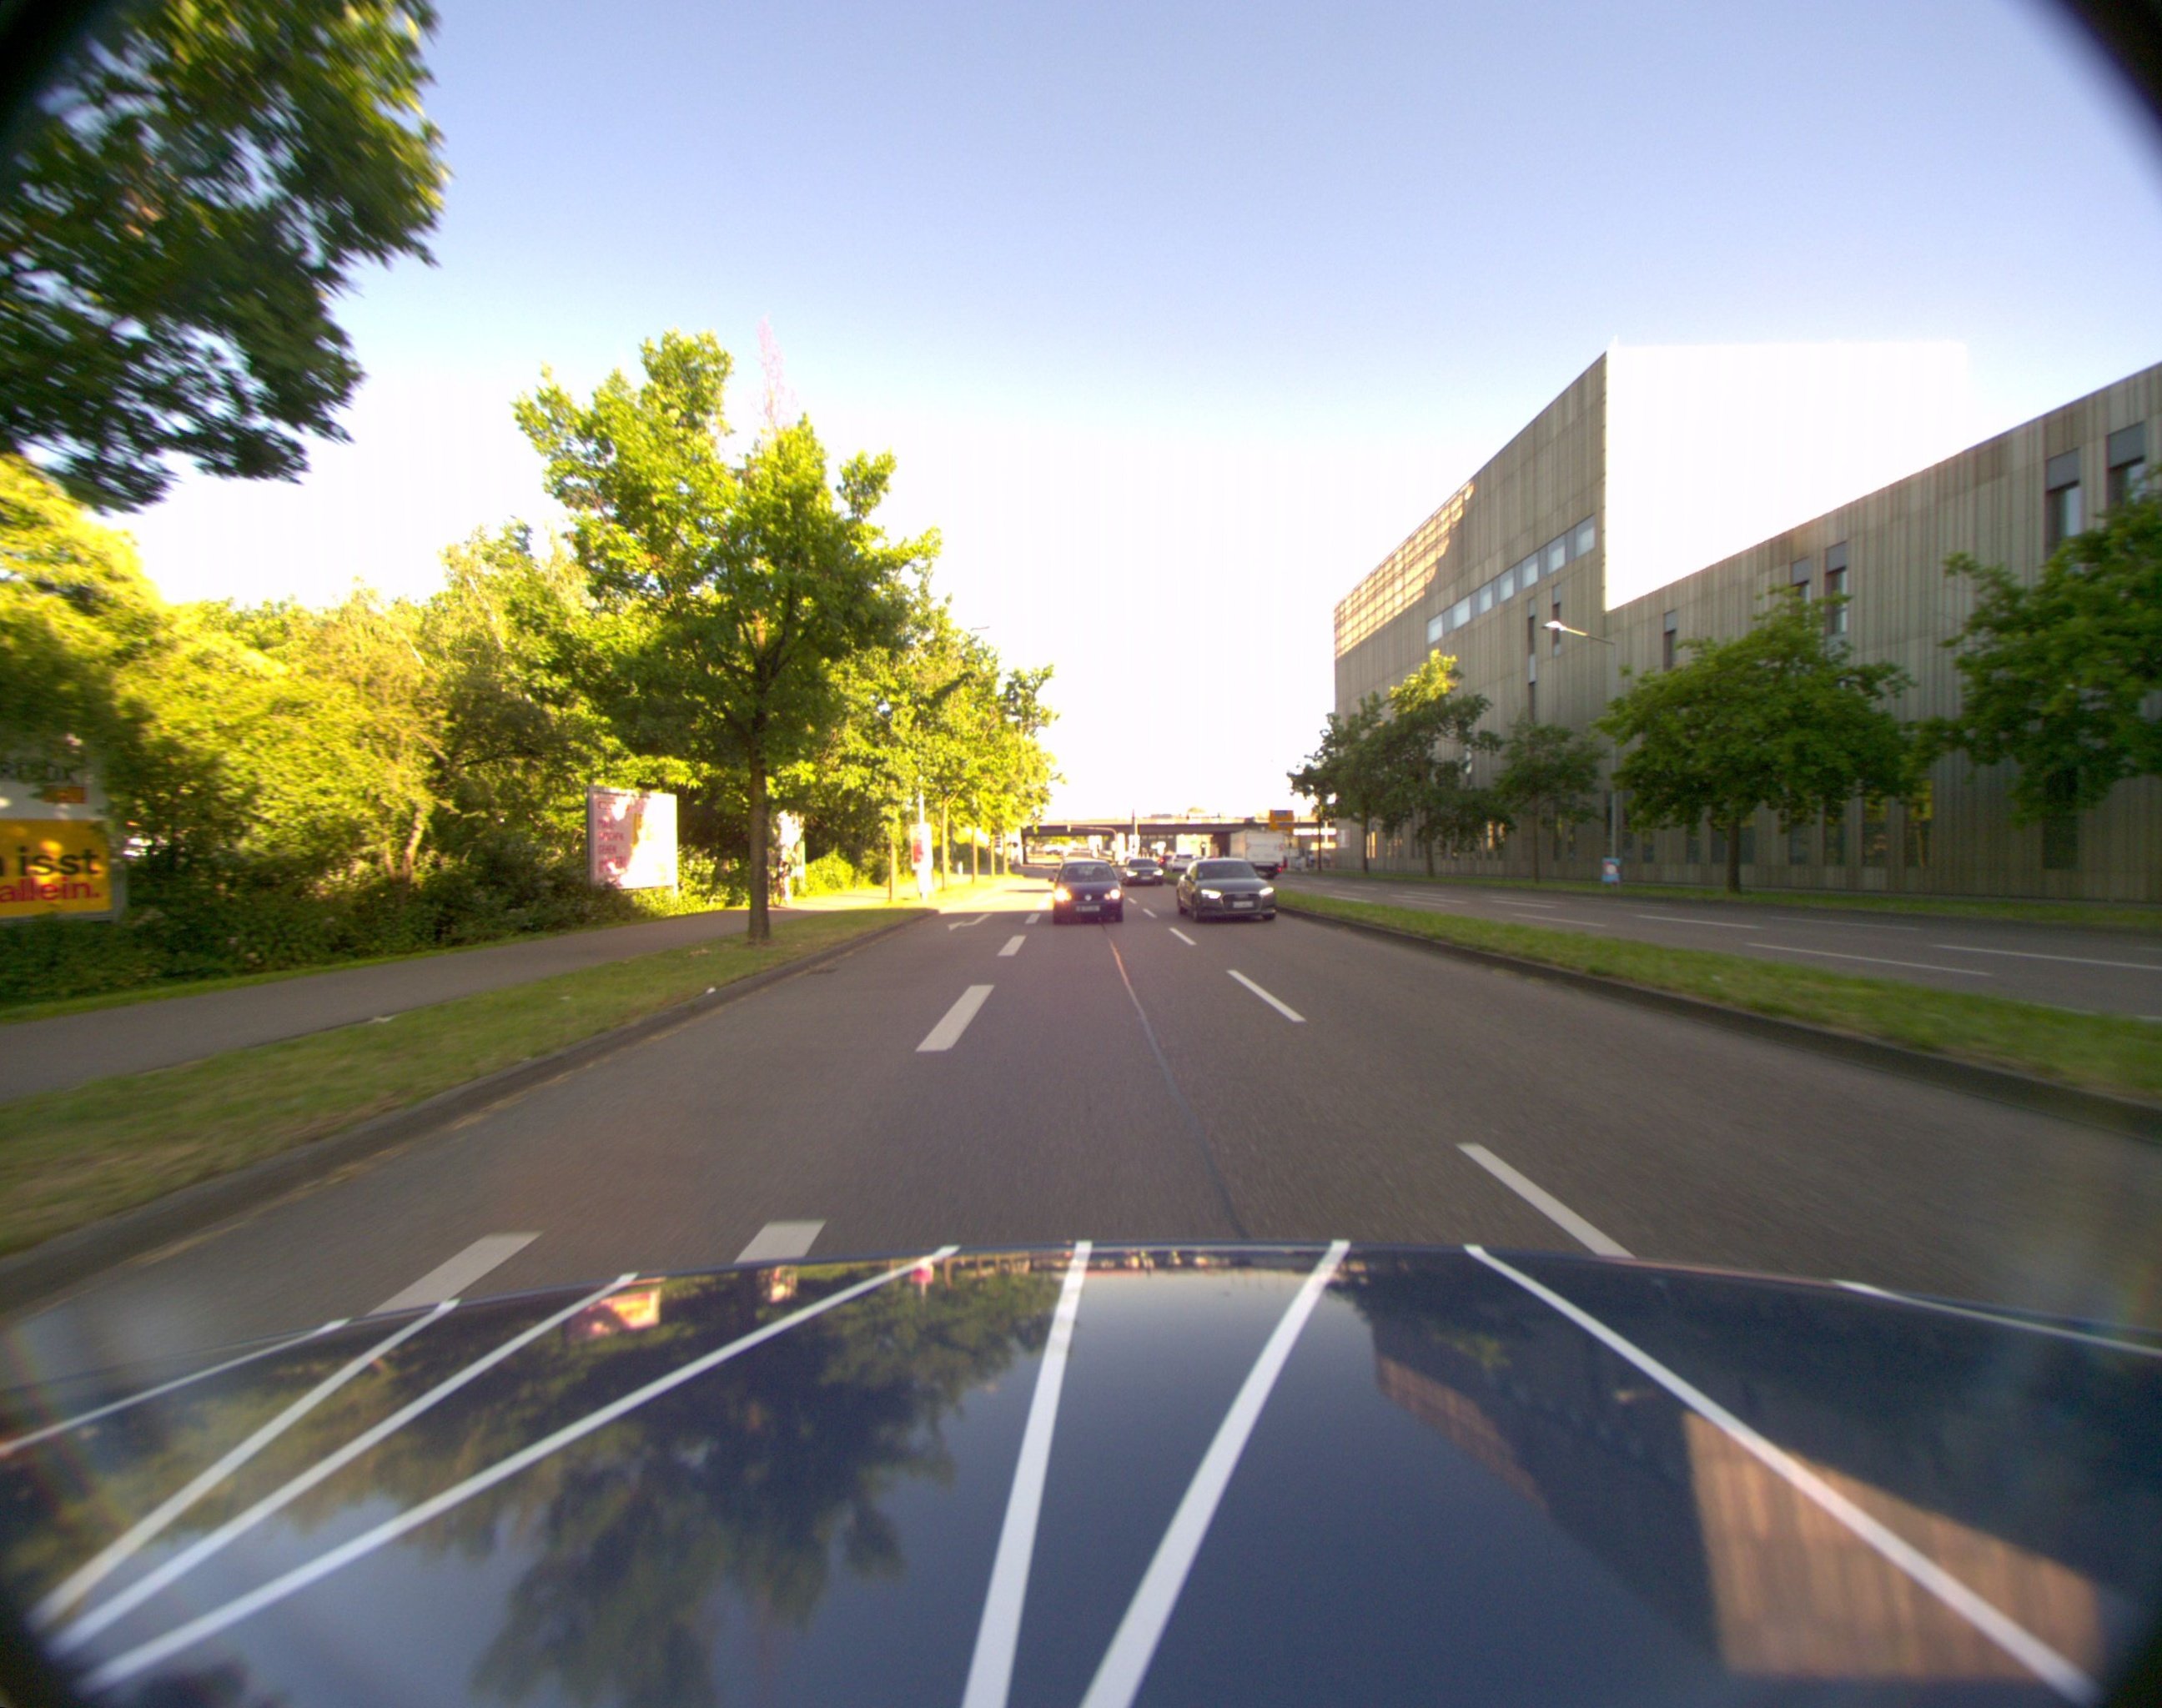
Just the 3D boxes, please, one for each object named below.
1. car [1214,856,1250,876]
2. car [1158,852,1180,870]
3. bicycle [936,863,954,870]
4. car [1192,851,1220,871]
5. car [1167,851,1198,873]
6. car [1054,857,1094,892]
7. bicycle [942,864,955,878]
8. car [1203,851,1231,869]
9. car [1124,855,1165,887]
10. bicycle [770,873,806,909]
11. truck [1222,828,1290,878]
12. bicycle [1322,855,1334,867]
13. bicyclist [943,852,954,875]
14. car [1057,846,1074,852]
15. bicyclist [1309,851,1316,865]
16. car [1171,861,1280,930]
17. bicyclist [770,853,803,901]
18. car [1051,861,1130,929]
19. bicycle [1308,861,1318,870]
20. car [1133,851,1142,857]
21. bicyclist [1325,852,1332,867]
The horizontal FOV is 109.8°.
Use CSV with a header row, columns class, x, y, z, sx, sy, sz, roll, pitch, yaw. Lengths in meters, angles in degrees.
class,x,y,z,sx,sy,sz,roll,pitch,yaw
car,11.093,0.878,56.030,1.840,1.415,4.000,1,0,-1
car,7.929,0.580,68.790,1.605,1.571,3.212,1,0,0
bicycle,-13.216,1.186,73.848,0.844,0.618,2.190,1,-1,-35
car,11.181,0.606,68.426,1.846,1.646,3.999,0,1,0
car,8.098,0.597,61.075,1.829,1.672,4.658,1,0,-1
car,-0.341,0.881,34.784,1.702,1.478,3.946,-1,0,-1
bicycle,-9.329,1.200,53.692,0.573,0.986,2.046,-1,0,-1
car,11.256,0.490,63.035,1.624,1.461,3.639,1,0,0
car,3.220,0.843,39.336,1.702,1.528,3.946,-1,0,-1
bicycle,-9.556,1.171,24.819,0.517,1.066,1.935,-1,0,-4
truck,11.071,-0.061,48.766,2.693,2.943,7.113,1,0,0
bicycle,25.517,0.691,78.486,0.513,1.262,2.099,0,0,-1
bicyclist,-9.330,0.685,53.469,0.566,1.600,0.865,-1,1,-1
car,-4.144,-1.290,202.412,1.994,1.433,4.868,0,0,-34
bicyclist,24.306,0.415,79.716,0.509,1.434,0.753,0,0,-1
car,3.310,0.894,18.231,1.702,1.396,4.364,-1,0,-1
bicyclist,-9.518,0.731,24.600,0.687,1.513,1.035,-1,1,-4
car,0.183,0.944,18.950,1.702,1.474,4.052,-2,-1,-1
bicycle,24.311,1.170,79.704,0.513,0.885,1.754,0,0,-1
car,12.500,0.004,168.155,1.707,1.433,4.880,1,0,-1
bicyclist,25.515,0.573,78.387,0.508,1.498,0.645,0,0,-1
